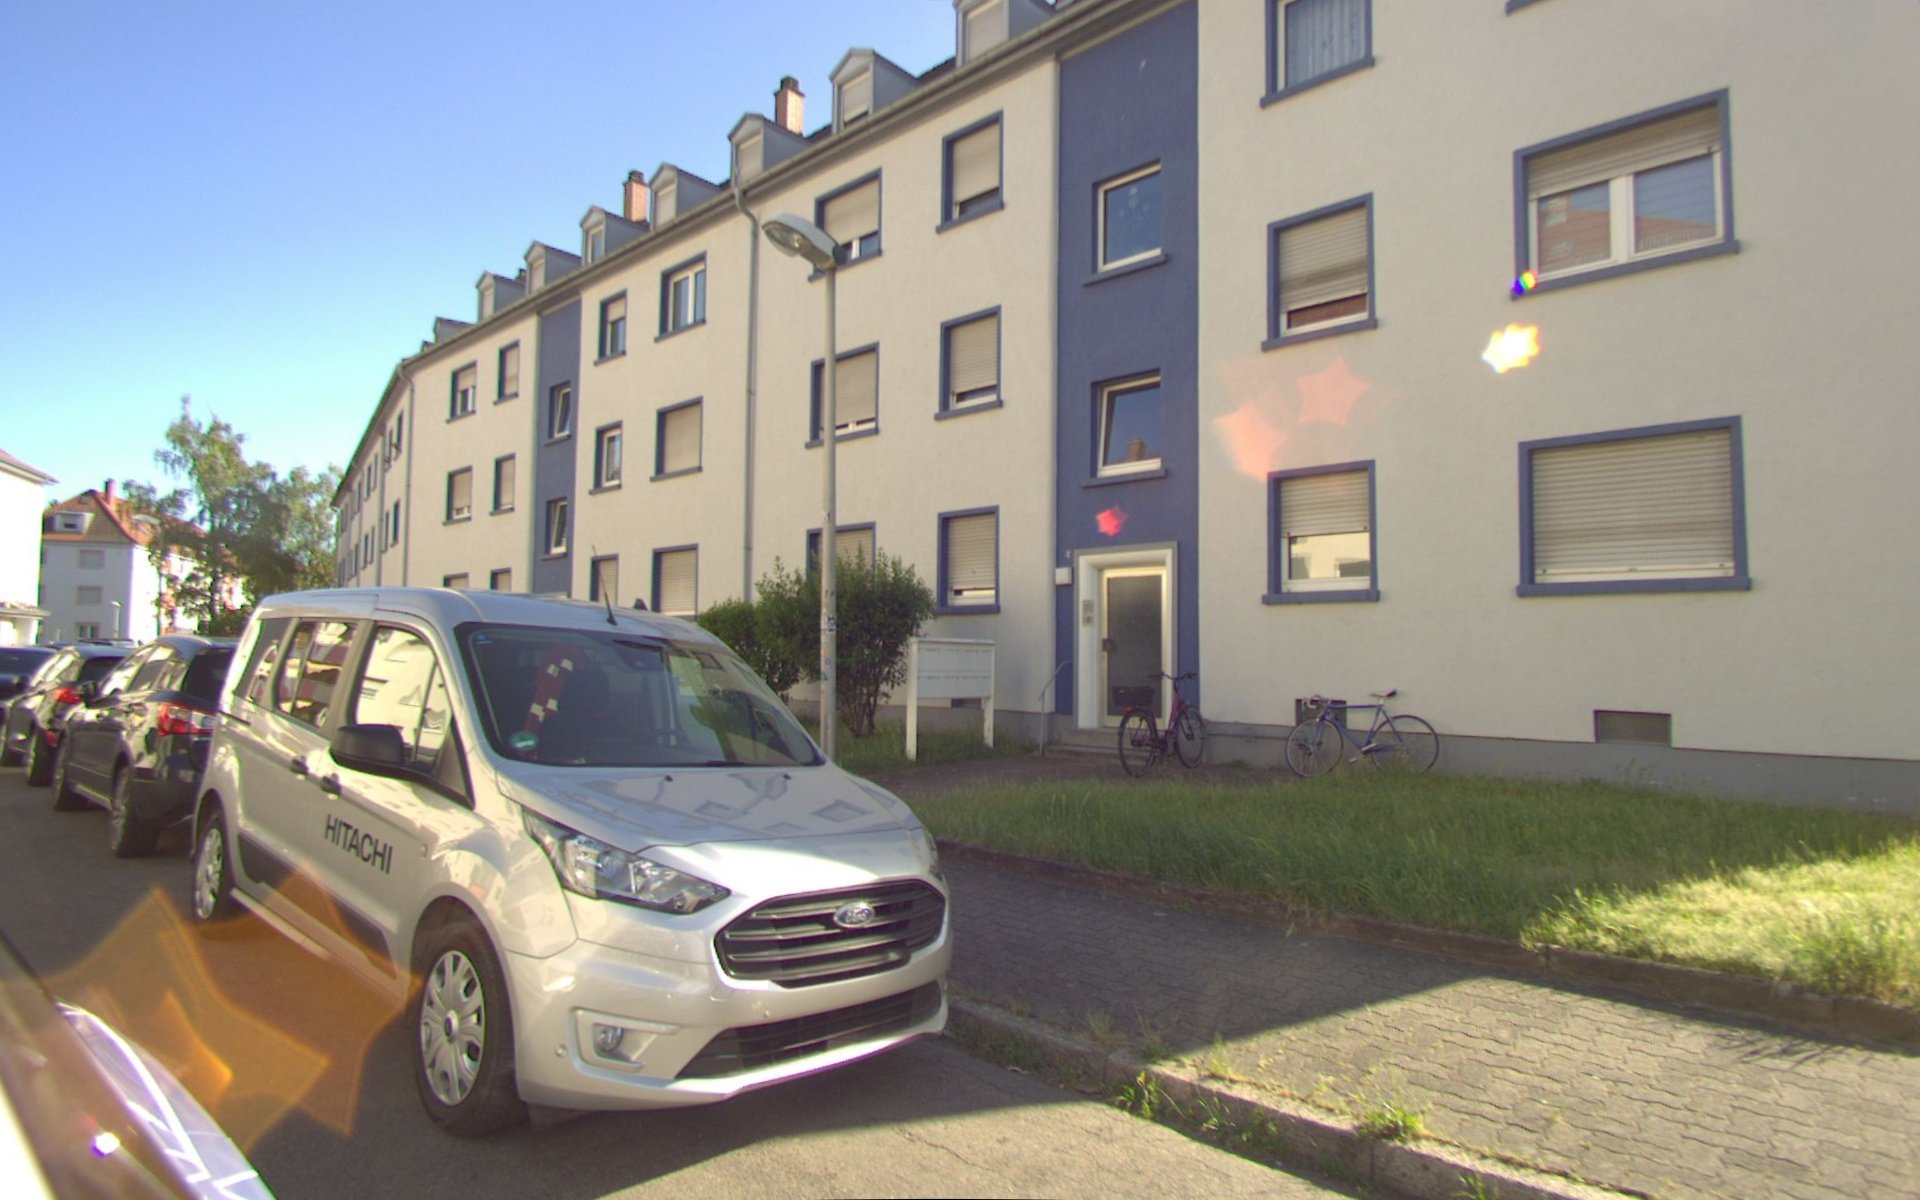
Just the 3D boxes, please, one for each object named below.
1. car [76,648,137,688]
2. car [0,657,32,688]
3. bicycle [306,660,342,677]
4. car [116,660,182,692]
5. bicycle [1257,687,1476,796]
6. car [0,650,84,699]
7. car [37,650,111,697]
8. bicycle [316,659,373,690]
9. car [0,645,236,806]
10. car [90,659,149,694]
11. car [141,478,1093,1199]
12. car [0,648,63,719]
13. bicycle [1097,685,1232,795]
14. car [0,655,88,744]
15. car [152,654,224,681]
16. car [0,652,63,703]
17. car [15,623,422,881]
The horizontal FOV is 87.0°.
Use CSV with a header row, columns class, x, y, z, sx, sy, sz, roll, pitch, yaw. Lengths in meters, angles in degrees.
class,x,y,z,sx,sy,sz,roll,pitch,yaw
car,-38.459,3.090,45.666,1.615,1.653,3.657,7,-7,-35
car,-46.875,3.477,49.028,1.728,1.440,4.480,5,-6,-28
bicycle,-30.308,3.264,48.237,1.435,0.770,0.310,-1,-2,-35
car,-43.736,4.102,54.651,1.614,1.587,3.659,5,-6,-21
bicycle,4.211,1.439,10.623,2.074,0.969,0.494,-3,-2,42
car,-32.223,2.635,35.615,1.615,1.559,3.657,7,-7,-35
car,-35.205,2.919,40.298,1.615,1.715,3.657,7,-7,-34
bicycle,-21.835,2.640,35.908,1.707,0.997,0.463,-1,-2,-35
car,-9.787,1.351,11.504,3.701,1.530,1.626,-3,-8,42
car,-41.473,3.788,50.012,1.615,1.587,3.658,6,-7,-31
car,-1.973,0.809,4.595,4.947,1.844,1.781,-3,-8,42
car,-22.117,1.891,23.445,1.721,1.528,3.986,8,-8,-43
bicycle,2.297,1.495,11.179,0.500,0.969,2.046,-3,-2,41
car,-17.581,1.753,18.509,4.396,1.470,1.879,-3,-8,43
car,-45.318,4.001,59.480,1.551,1.436,3.985,4,-6,-9
car,-28.621,2.326,30.748,1.693,1.422,3.990,7,-7,-38
car,-6.235,1.112,8.330,4.162,1.603,1.656,-3,-9,41
